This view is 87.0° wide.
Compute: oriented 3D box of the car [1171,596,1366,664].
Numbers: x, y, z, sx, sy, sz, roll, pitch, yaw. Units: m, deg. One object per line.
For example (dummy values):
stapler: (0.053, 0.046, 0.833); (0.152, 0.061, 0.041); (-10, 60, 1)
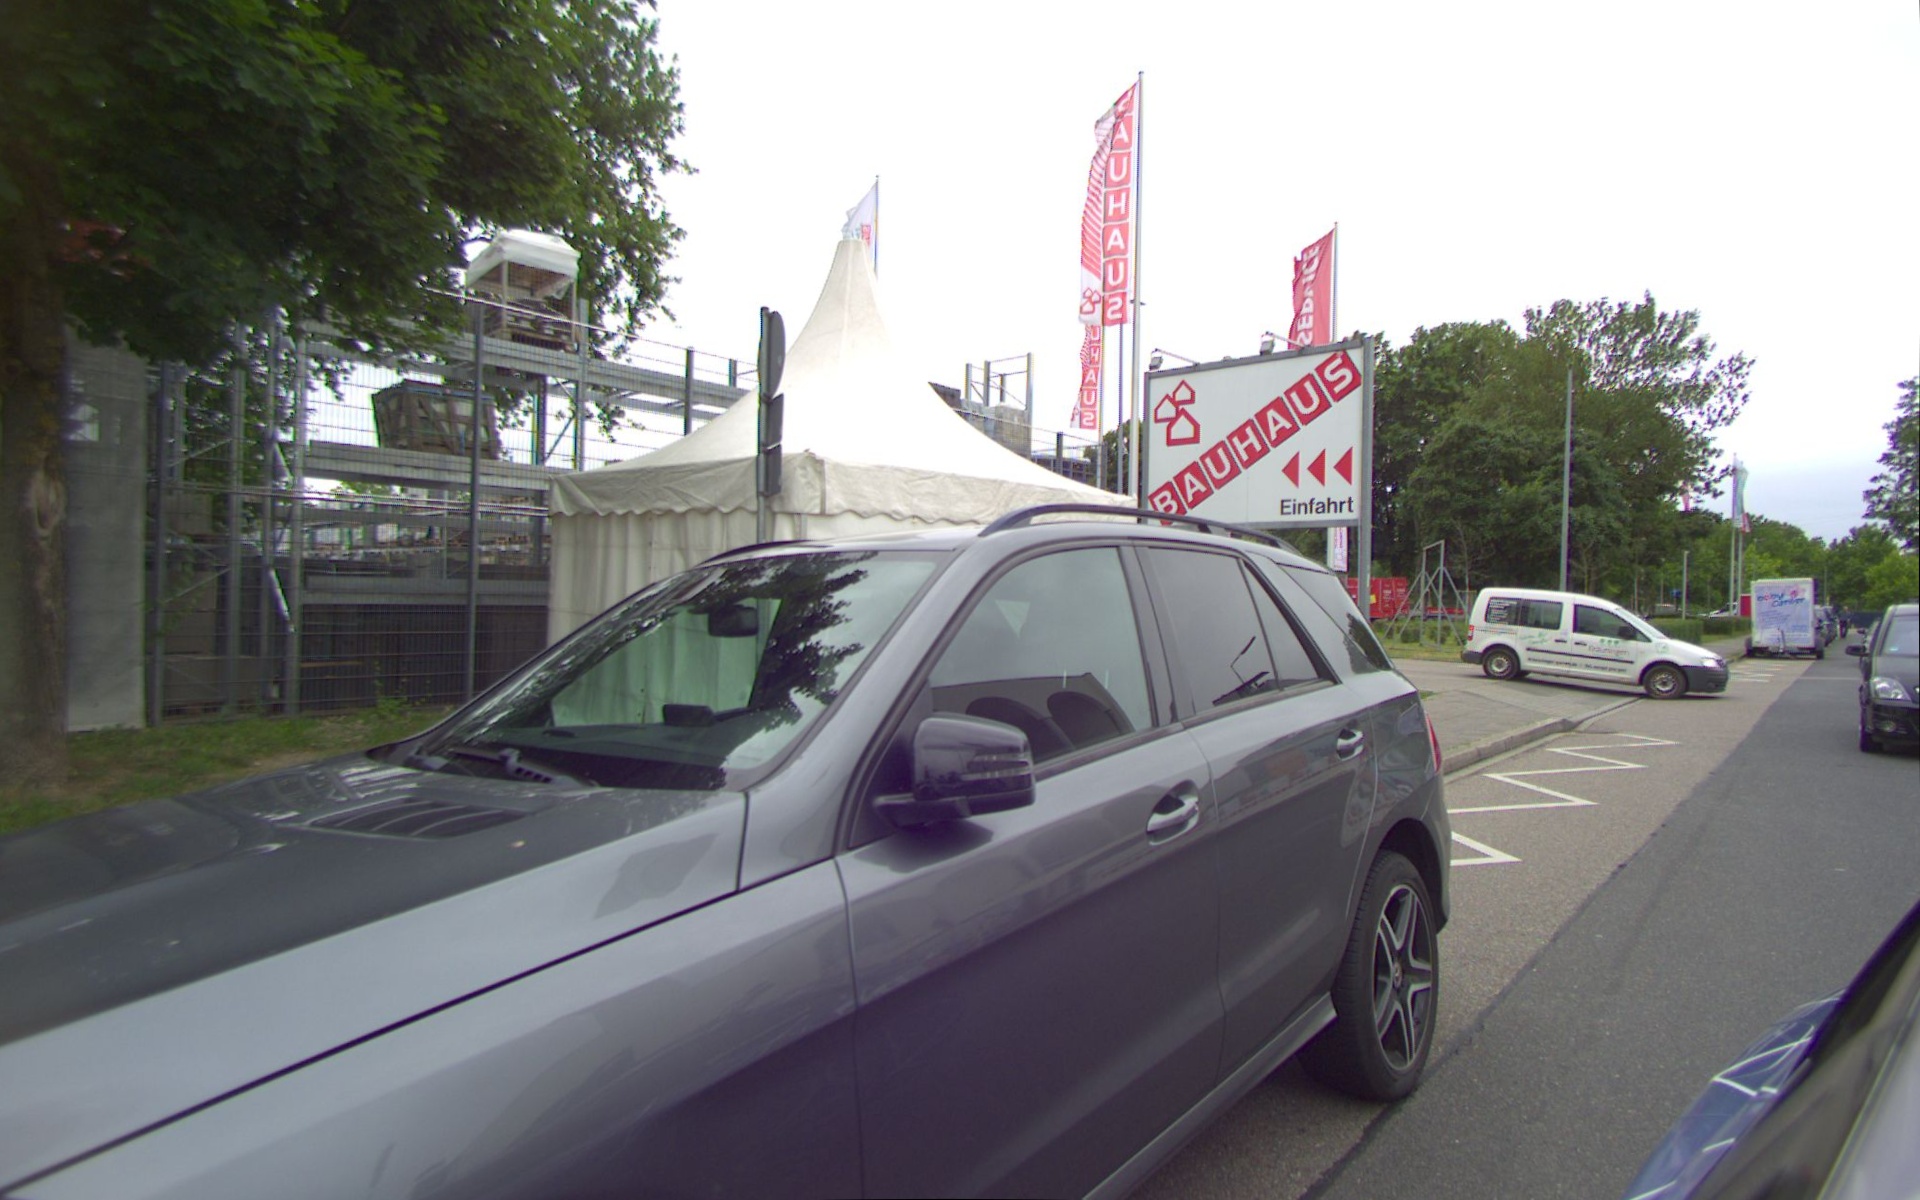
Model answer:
car: (7.221, 0.651, 23.916); (4.103, 1.438, 1.703); (1, 0, 44)

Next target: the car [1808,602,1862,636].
car: (48.047, 1.024, 55.560); (1.994, 1.772, 3.936); (2, 1, 44)

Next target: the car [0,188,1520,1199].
car: (-0.235, 0.611, 2.628); (1.908, 1.763, 4.410); (-3, -2, 43)

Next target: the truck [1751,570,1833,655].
truck: (27.805, 0.426, 33.783); (1.846, 2.646, 3.939); (-3, -2, 42)

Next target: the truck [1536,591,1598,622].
truck: (50.018, 0.532, 83.433); (3.918, 2.427, 2.003); (1, 0, -7)

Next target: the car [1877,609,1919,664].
car: (26.444, 0.969, 27.843); (1.745, 1.376, 4.074); (-1, 0, 43)

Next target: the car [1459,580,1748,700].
car: (12.185, 0.653, 19.338); (4.368, 1.829, 1.773); (5, 3, 42)

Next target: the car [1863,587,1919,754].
car: (11.121, 0.723, 11.077); (1.681, 1.652, 3.698); (1, 1, 44)

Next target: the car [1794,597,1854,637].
car: (42.702, 0.800, 49.971); (1.994, 1.838, 3.936); (2, 1, 44)
